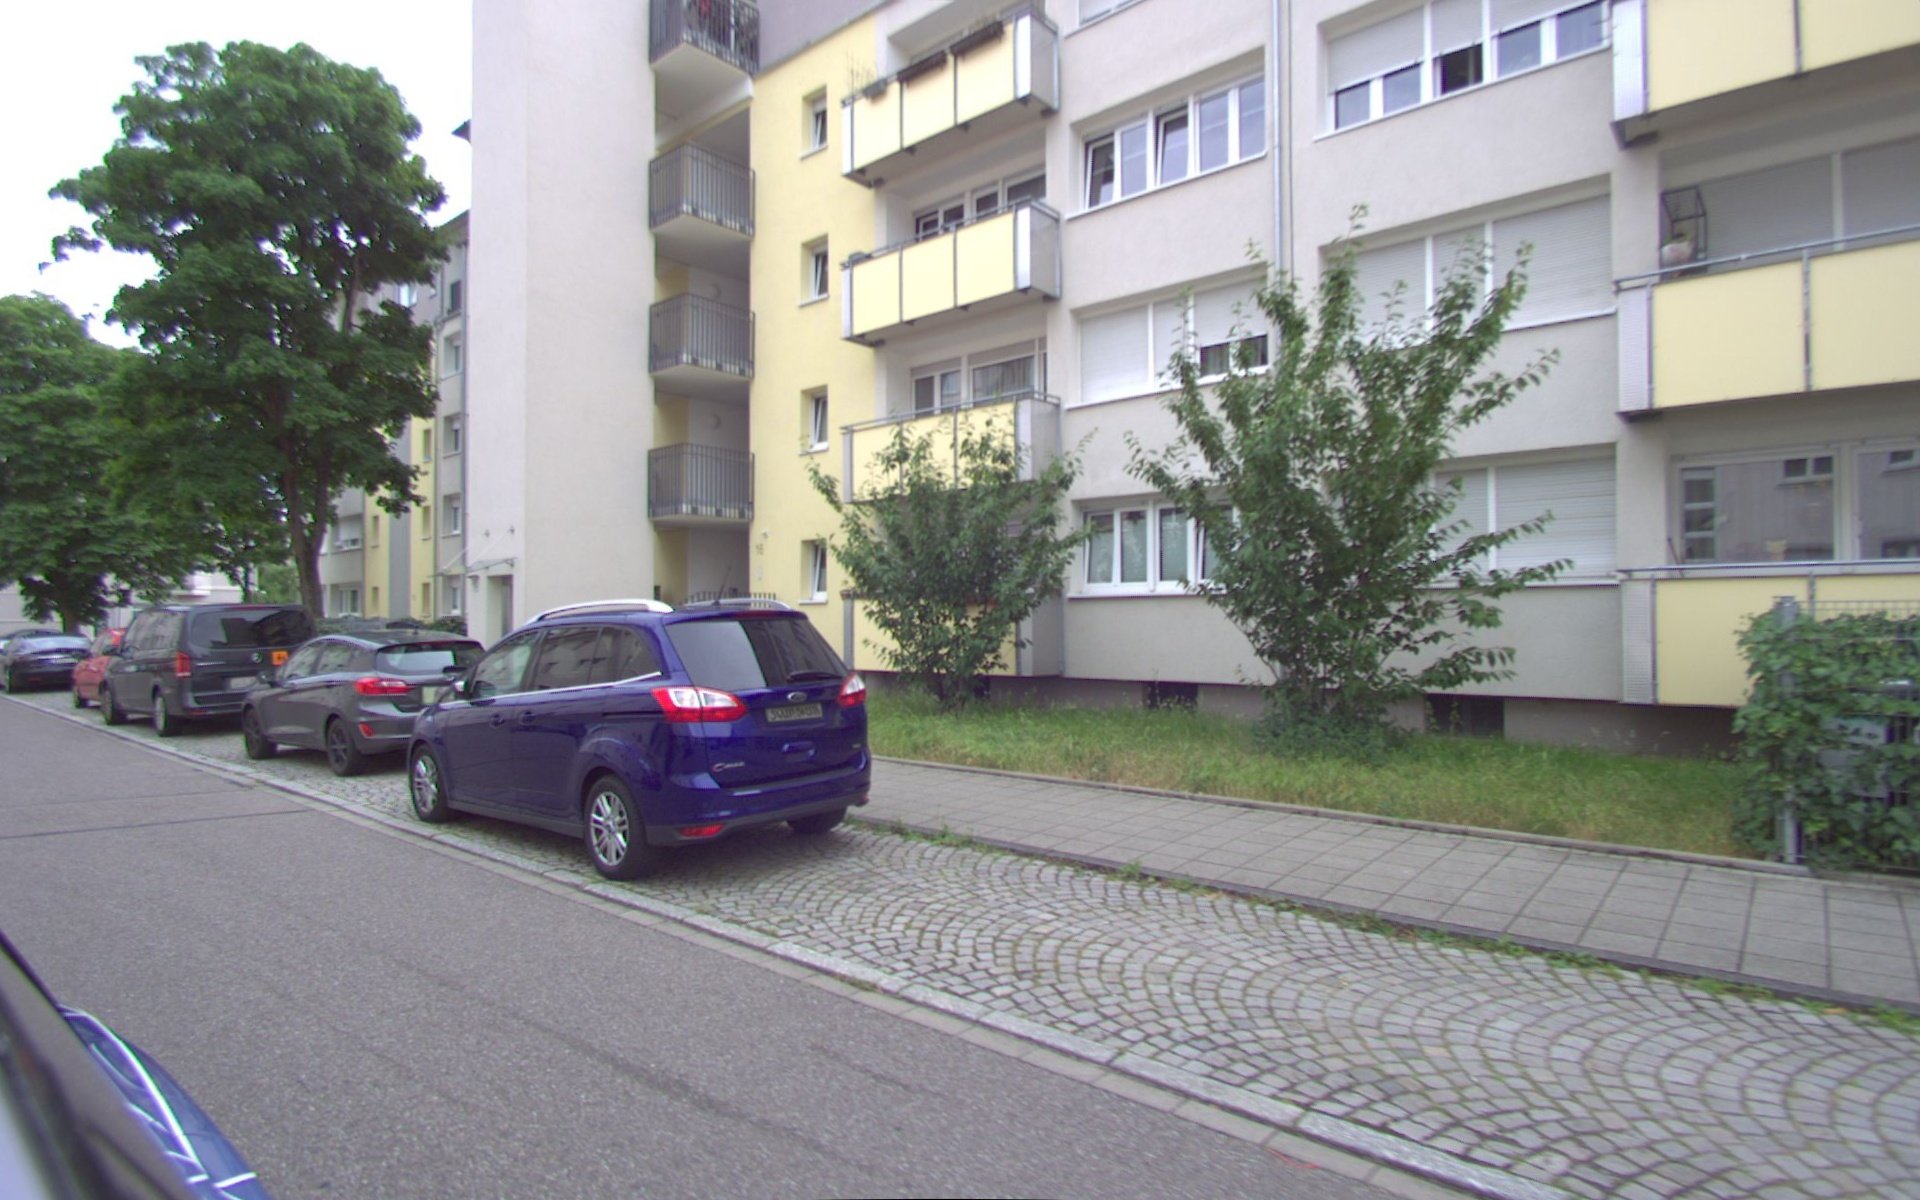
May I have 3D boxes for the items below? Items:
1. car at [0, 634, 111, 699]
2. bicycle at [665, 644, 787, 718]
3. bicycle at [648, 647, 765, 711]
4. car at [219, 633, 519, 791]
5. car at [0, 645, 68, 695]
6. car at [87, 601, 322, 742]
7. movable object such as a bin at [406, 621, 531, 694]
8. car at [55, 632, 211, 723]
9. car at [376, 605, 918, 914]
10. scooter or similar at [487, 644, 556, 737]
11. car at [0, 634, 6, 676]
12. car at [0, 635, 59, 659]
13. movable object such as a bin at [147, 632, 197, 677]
[{"bbox_3d":[-23.261,1.623,25.638,4.430,1.450,1.895,-2,-1,39],"label":"car"},{"bbox_3d":[-3.832,1.297,16.651,1.830,1.146,0.717,2,-3,-43],"label":"bicycle"},{"bbox_3d":[-4.282,1.310,17.204,1.830,1.028,0.671,2,-3,-43],"label":"bicycle"},{"bbox_3d":[-6.732,1.129,11.400,3.813,1.456,1.606,-2,-1,37],"label":"car"},{"bbox_3d":[-27.259,1.980,29.202,4.207,1.274,1.743,-2,-1,41],"label":"car"},{"bbox_3d":[-11.829,1.034,15.722,4.781,1.869,1.867,-2,-3,40],"label":"car"},{"bbox_3d":[-11.037,1.257,22.698,2.539,1.535,1.596,-2,-3,40],"label":"movable object such as a bin"},{"bbox_3d":[-15.766,1.404,19.244,3.610,1.580,1.604,-2,-3,39],"label":"car"},{"bbox_3d":[-2.552,0.909,7.555,4.469,1.639,1.781,-2,-1,41],"label":"car"},{"bbox_3d":[-6.176,1.251,14.233,1.135,1.253,0.432,-2,-3,41],"label":"scooter or similar"},{"bbox_3d":[-38.161,2.120,38.770,4.207,1.587,1.974,-2,-1,41],"label":"car"},{"bbox_3d":[-52.969,2.622,57.278,1.353,1.294,2.890,-2,-2,44],"label":"car"},{"bbox_3d":[-26.427,1.810,33.945,0.889,1.487,1.168,-2,-3,44],"label":"movable object such as a bin"}]
